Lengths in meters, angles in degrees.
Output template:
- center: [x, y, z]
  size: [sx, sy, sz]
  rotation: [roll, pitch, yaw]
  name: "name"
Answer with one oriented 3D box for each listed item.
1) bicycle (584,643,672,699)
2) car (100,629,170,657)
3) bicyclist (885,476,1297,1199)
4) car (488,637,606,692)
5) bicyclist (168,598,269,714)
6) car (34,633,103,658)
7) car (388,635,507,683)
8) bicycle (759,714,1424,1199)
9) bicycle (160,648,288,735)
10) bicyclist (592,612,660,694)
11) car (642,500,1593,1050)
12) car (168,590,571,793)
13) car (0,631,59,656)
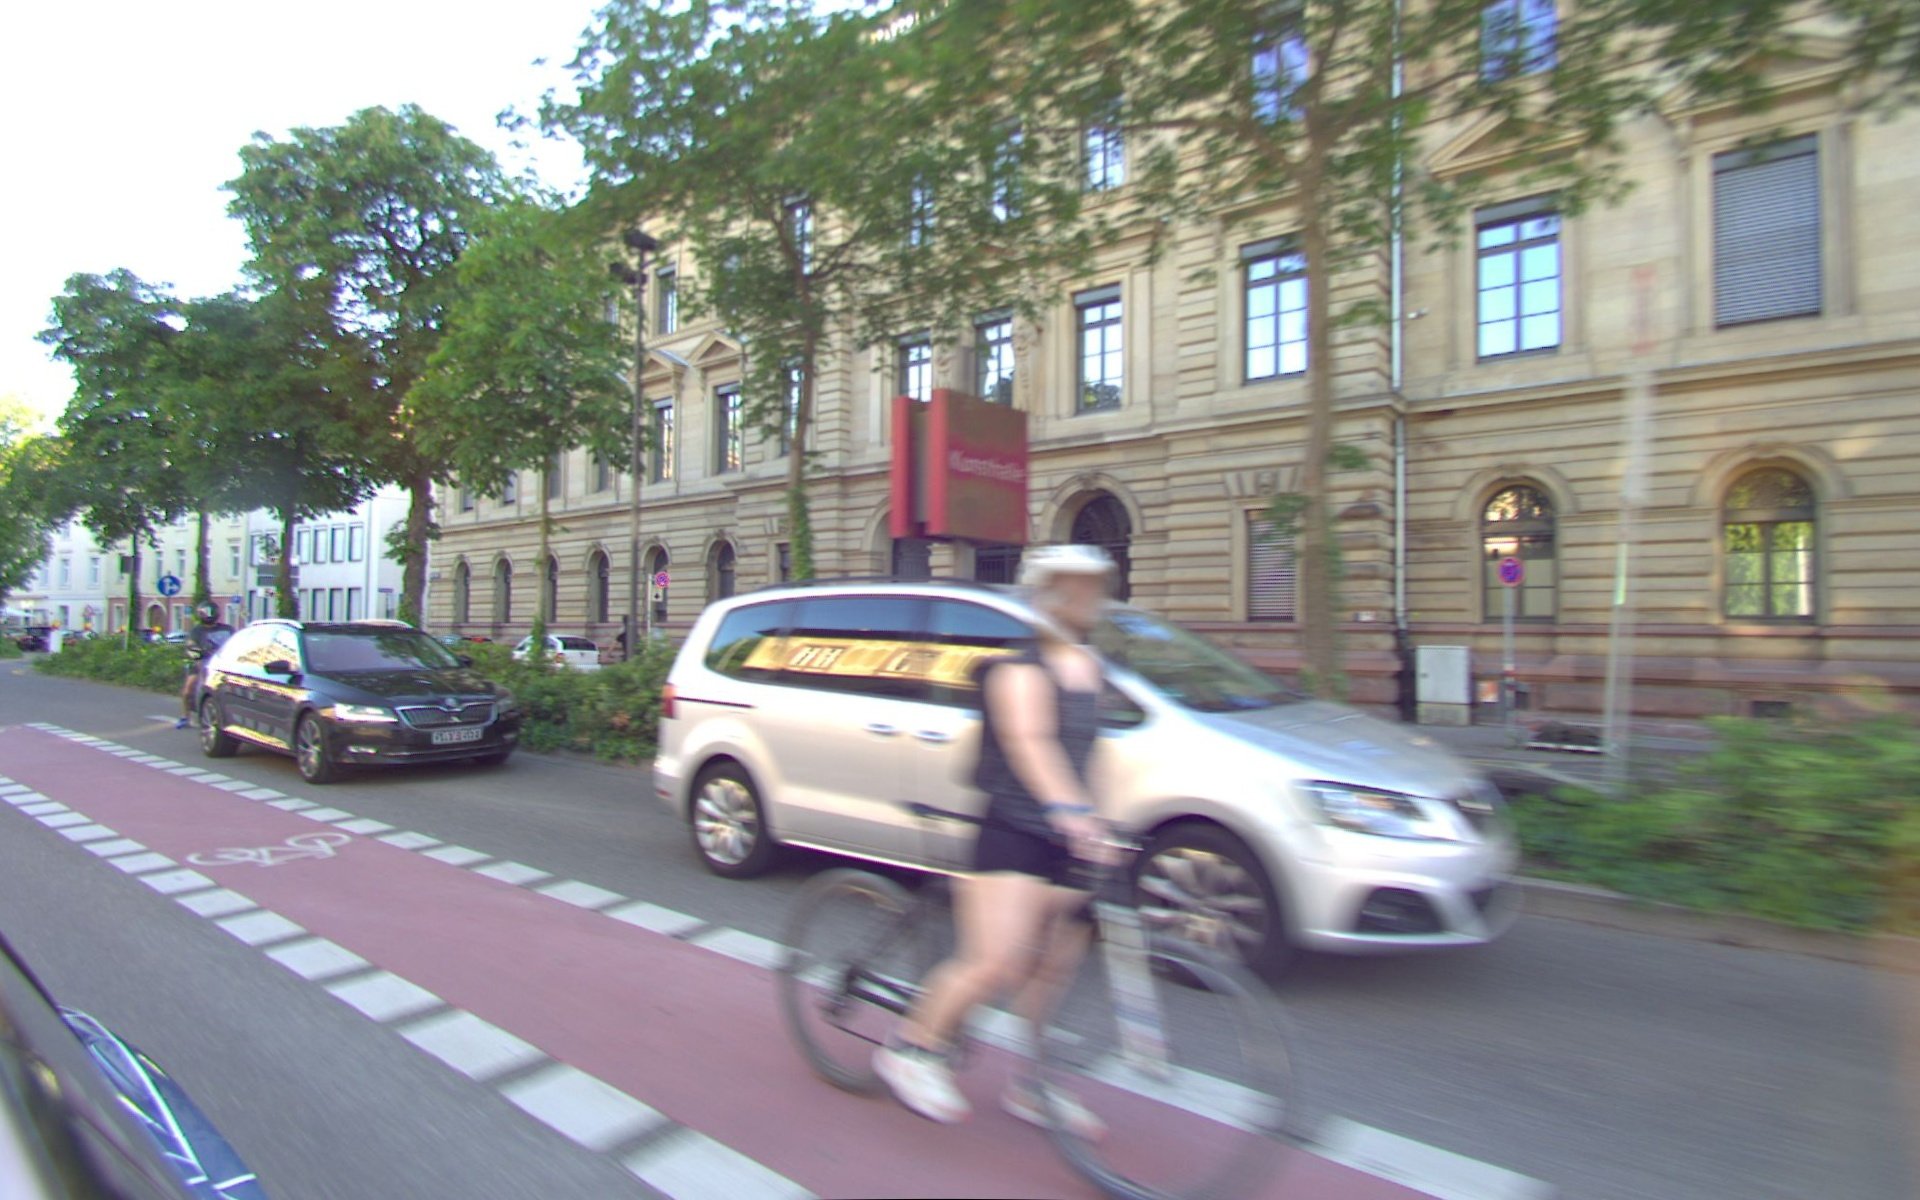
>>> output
- center: [-7.804, 1.653, 23.749]
  size: [2.173, 1.203, 0.872]
  rotation: [-1, -6, 40]
  name: "bicycle"
- center: [-48.378, 2.540, 59.343]
  size: [4.138, 1.583, 1.789]
  rotation: [-1, -3, 30]
  name: "car"
- center: [0.348, 0.576, 2.746]
  size: [0.887, 1.665, 0.665]
  rotation: [-1, -2, 40]
  name: "bicyclist"
- center: [-12.471, 1.899, 30.462]
  size: [3.842, 1.519, 1.651]
  rotation: [-1, -3, 39]
  name: "car"
- center: [-10.332, 0.754, 14.093]
  size: [1.230, 1.535, 0.859]
  rotation: [-1, -1, 40]
  name: "bicyclist"
- center: [-55.859, 2.816, 63.404]
  size: [4.172, 1.499, 1.756]
  rotation: [-1, -2, 26]
  name: "car"
- center: [-17.480, 1.983, 34.425]
  size: [4.640, 1.519, 1.860]
  rotation: [-2, -5, 40]
  name: "car"
- center: [0.256, 0.928, 2.802]
  size: [1.752, 1.081, 0.662]
  rotation: [-1, -2, 41]
  name: "bicycle"
- center: [-10.182, 1.210, 13.963]
  size: [2.451, 1.050, 0.861]
  rotation: [-1, -2, 40]
  name: "bicycle"
- center: [-7.876, 1.245, 23.870]
  size: [1.285, 1.848, 0.872]
  rotation: [-1, -6, 40]
  name: "bicyclist"
- center: [0.552, 0.640, 5.505]
  size: [4.740, 1.763, 1.972]
  rotation: [-1, -3, 38]
  name: "car"
- center: [-6.296, 0.825, 10.577]
  size: [4.729, 1.670, 1.975]
  rotation: [-1, -3, 38]
  name: "car"
- center: [-60.797, 2.810, 65.791]
  size: [4.367, 1.583, 1.803]
  rotation: [-1, -3, 27]
  name: "car"
